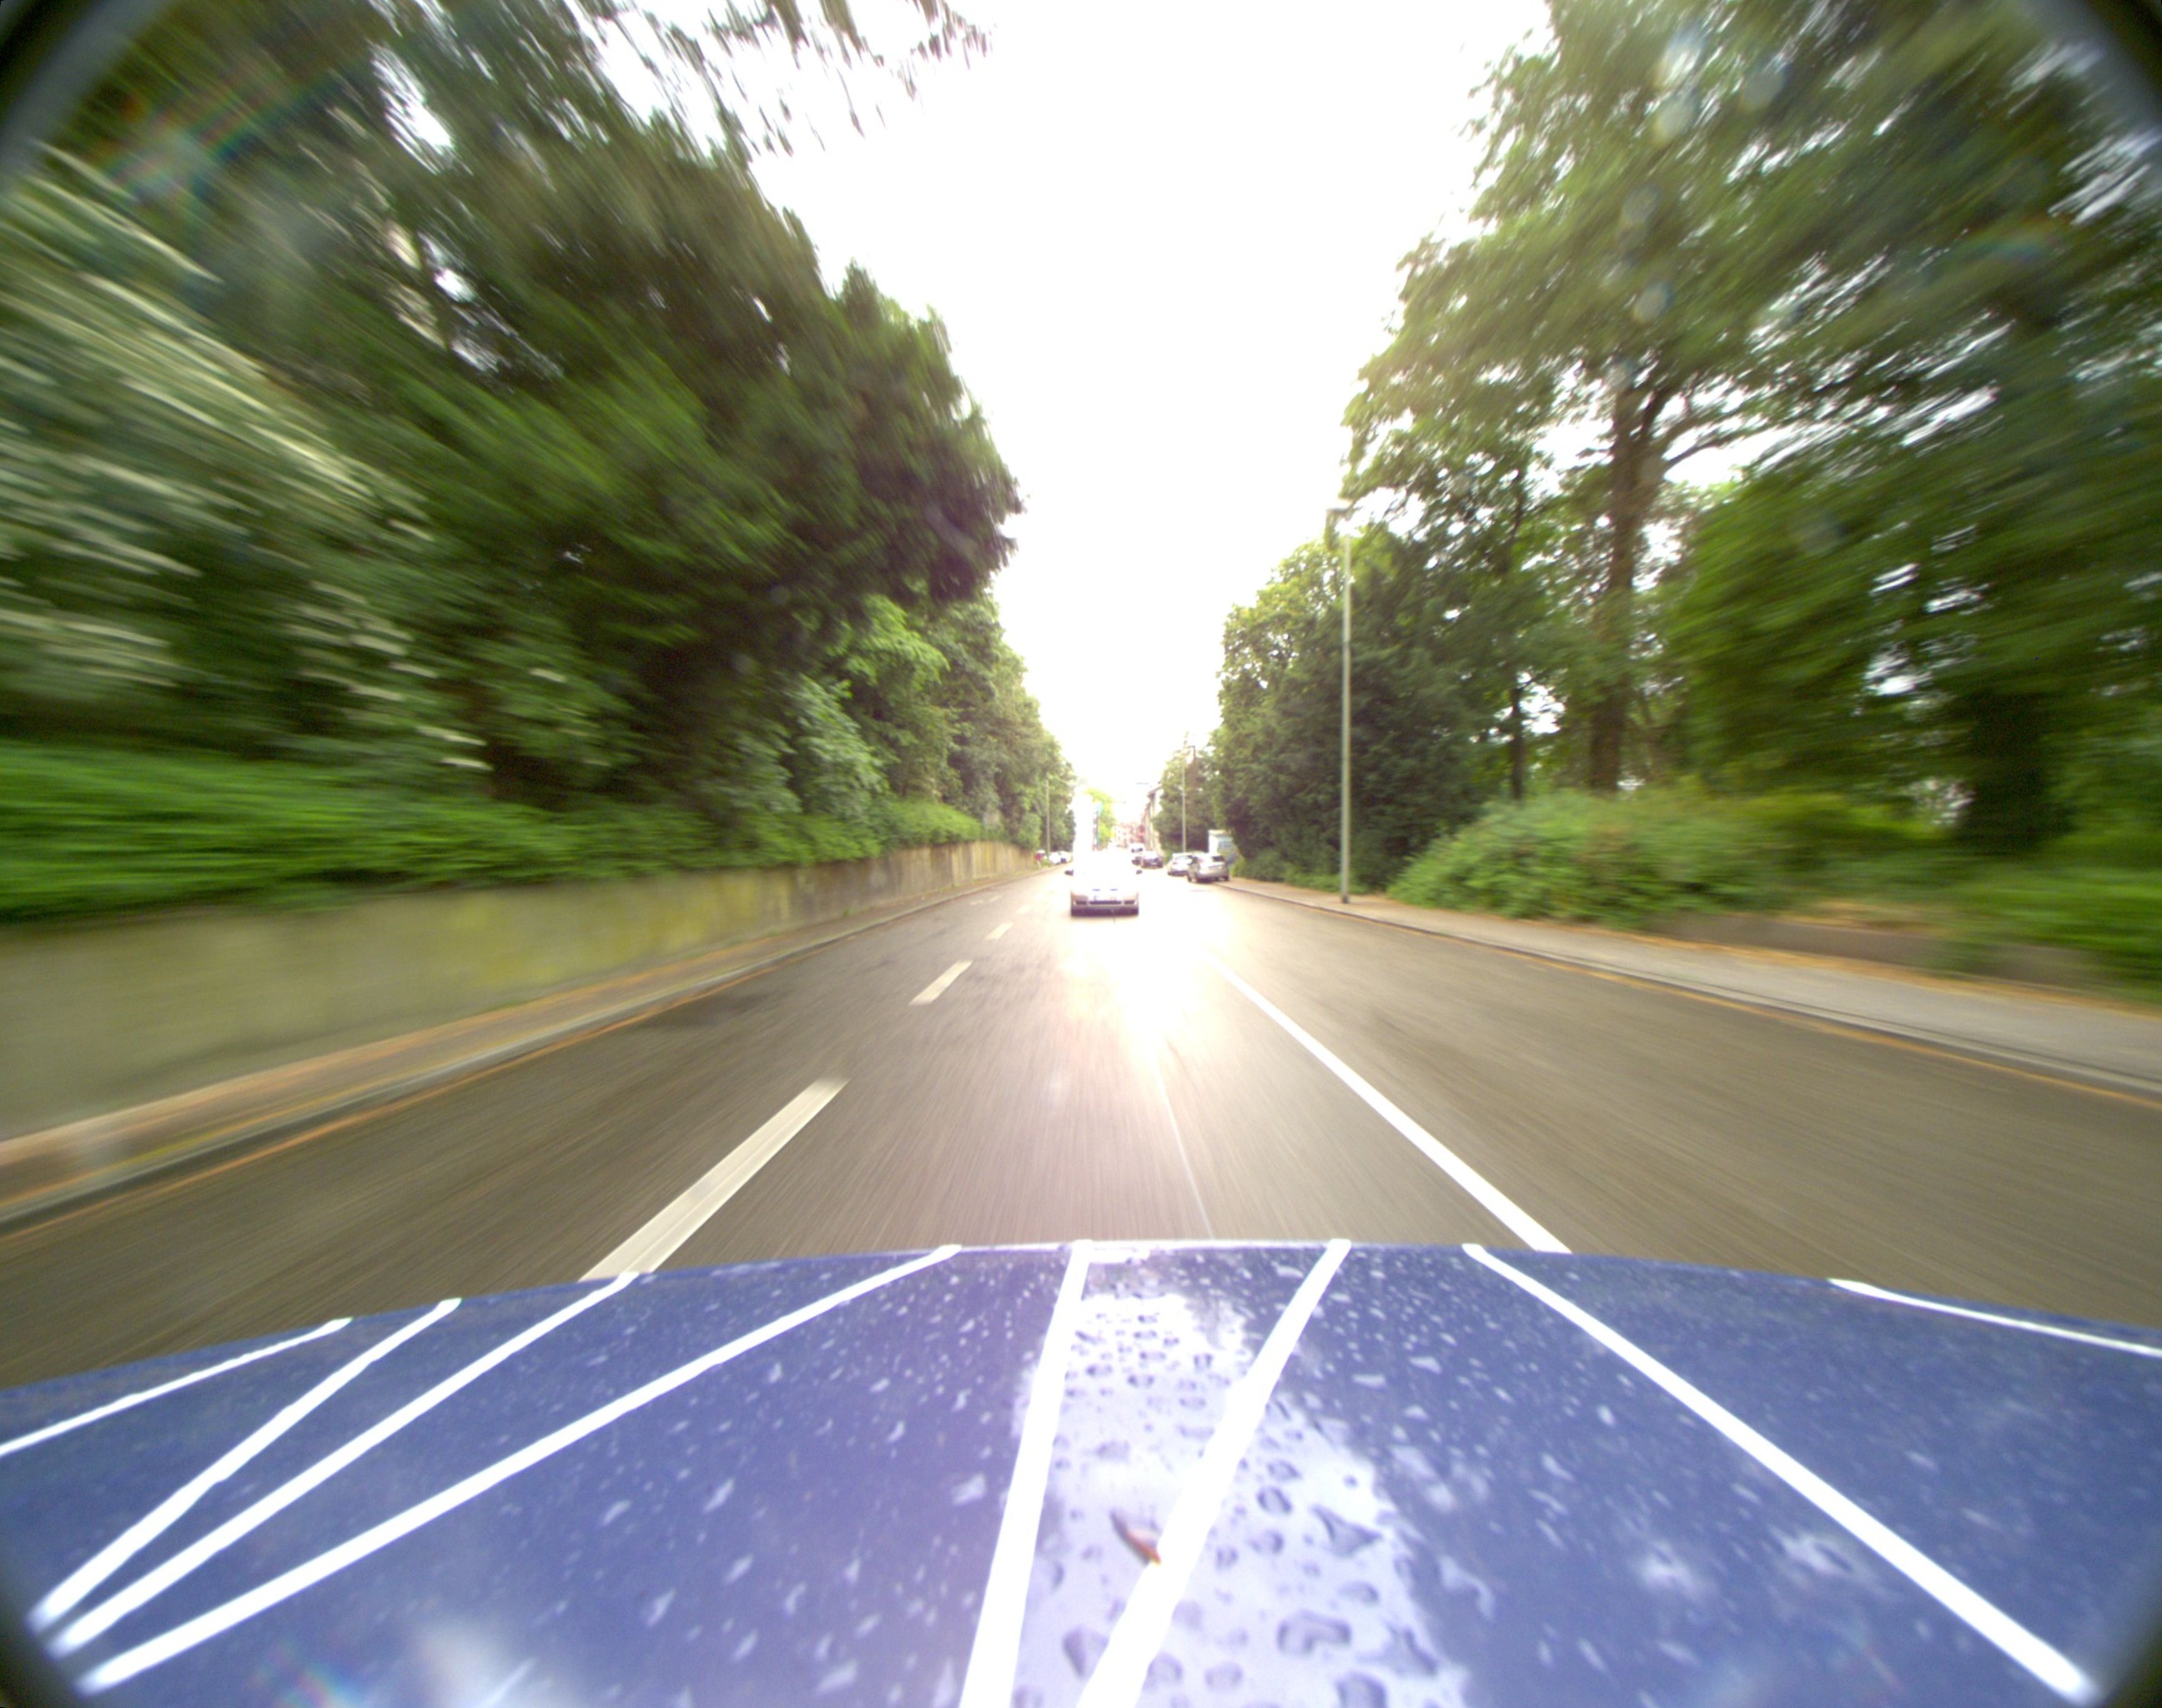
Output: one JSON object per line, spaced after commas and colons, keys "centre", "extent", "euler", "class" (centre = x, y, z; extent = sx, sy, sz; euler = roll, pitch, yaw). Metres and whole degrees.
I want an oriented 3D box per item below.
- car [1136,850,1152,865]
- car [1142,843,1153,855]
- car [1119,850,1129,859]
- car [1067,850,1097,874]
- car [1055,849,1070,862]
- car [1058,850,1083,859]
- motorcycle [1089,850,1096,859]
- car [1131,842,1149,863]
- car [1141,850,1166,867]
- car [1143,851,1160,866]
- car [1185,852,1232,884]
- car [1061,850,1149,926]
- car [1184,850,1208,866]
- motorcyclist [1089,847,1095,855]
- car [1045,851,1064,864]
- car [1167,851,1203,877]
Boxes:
{"centre": [7.031, 0.320, 84.500], "extent": [1.648, 1.595, 4.186], "euler": [1, 1, 4], "class": "car"}
{"centre": [14.037, -1.050, 160.759], "extent": [2.122, 2.536, 5.445], "euler": [1, 1, 3], "class": "car"}
{"centre": [7.776, 0.124, 138.174], "extent": [1.765, 1.482, 4.001], "euler": [-2, 0, 4], "class": "car"}
{"centre": [0.095, 0.554, 55.638], "extent": [1.998, 1.603, 3.967], "euler": [-1, 1, 3], "class": "car"}
{"centre": [-2.467, 0.188, 103.446], "extent": [1.769, 1.614, 4.679], "euler": [0, 1, 2], "class": "car"}
{"centre": [-1.823, 0.055, 134.880], "extent": [4.192, 1.408, 1.804], "euler": [1, 1, 3], "class": "car"}
{"centre": [1.591, 0.089, 105.951], "extent": [0.778, 1.120, 2.300], "euler": [-3, 1, 6], "class": "motorcycle"}
{"centre": [7.399, -0.235, 95.992], "extent": [2.122, 2.536, 5.445], "euler": [1, 1, 3], "class": "car"}
{"centre": [6.845, 0.426, 71.842], "extent": [1.864, 1.485, 4.755], "euler": [2, 0, 0], "class": "car"}
{"centre": [7.308, 0.433, 78.812], "extent": [1.659, 1.560, 4.149], "euler": [0, 0, 4], "class": "car"}
{"centre": [6.561, 0.670, 39.528], "extent": [1.630, 1.490, 3.927], "euler": [-3, 0, -2], "class": "car"}
{"centre": [0.704, 0.739, 18.820], "extent": [1.825, 1.603, 4.190], "euler": [-2, 1, 6], "class": "car"}
{"centre": [10.842, 0.326, 71.783], "extent": [1.727, 1.450, 4.396], "euler": [-1, 0, 1], "class": "car"}
{"centre": [1.571, -0.409, 105.891], "extent": [0.778, 1.120, 0.549], "euler": [-3, 1, 5], "class": "motorcyclist"}
{"centre": [-3.214, 0.373, 93.062], "extent": [1.742, 1.469, 4.741], "euler": [1, 0, 4], "class": "car"}
{"centre": [6.942, 0.627, 51.112], "extent": [1.891, 1.602, 4.239], "euler": [1, 0, 1], "class": "car"}
